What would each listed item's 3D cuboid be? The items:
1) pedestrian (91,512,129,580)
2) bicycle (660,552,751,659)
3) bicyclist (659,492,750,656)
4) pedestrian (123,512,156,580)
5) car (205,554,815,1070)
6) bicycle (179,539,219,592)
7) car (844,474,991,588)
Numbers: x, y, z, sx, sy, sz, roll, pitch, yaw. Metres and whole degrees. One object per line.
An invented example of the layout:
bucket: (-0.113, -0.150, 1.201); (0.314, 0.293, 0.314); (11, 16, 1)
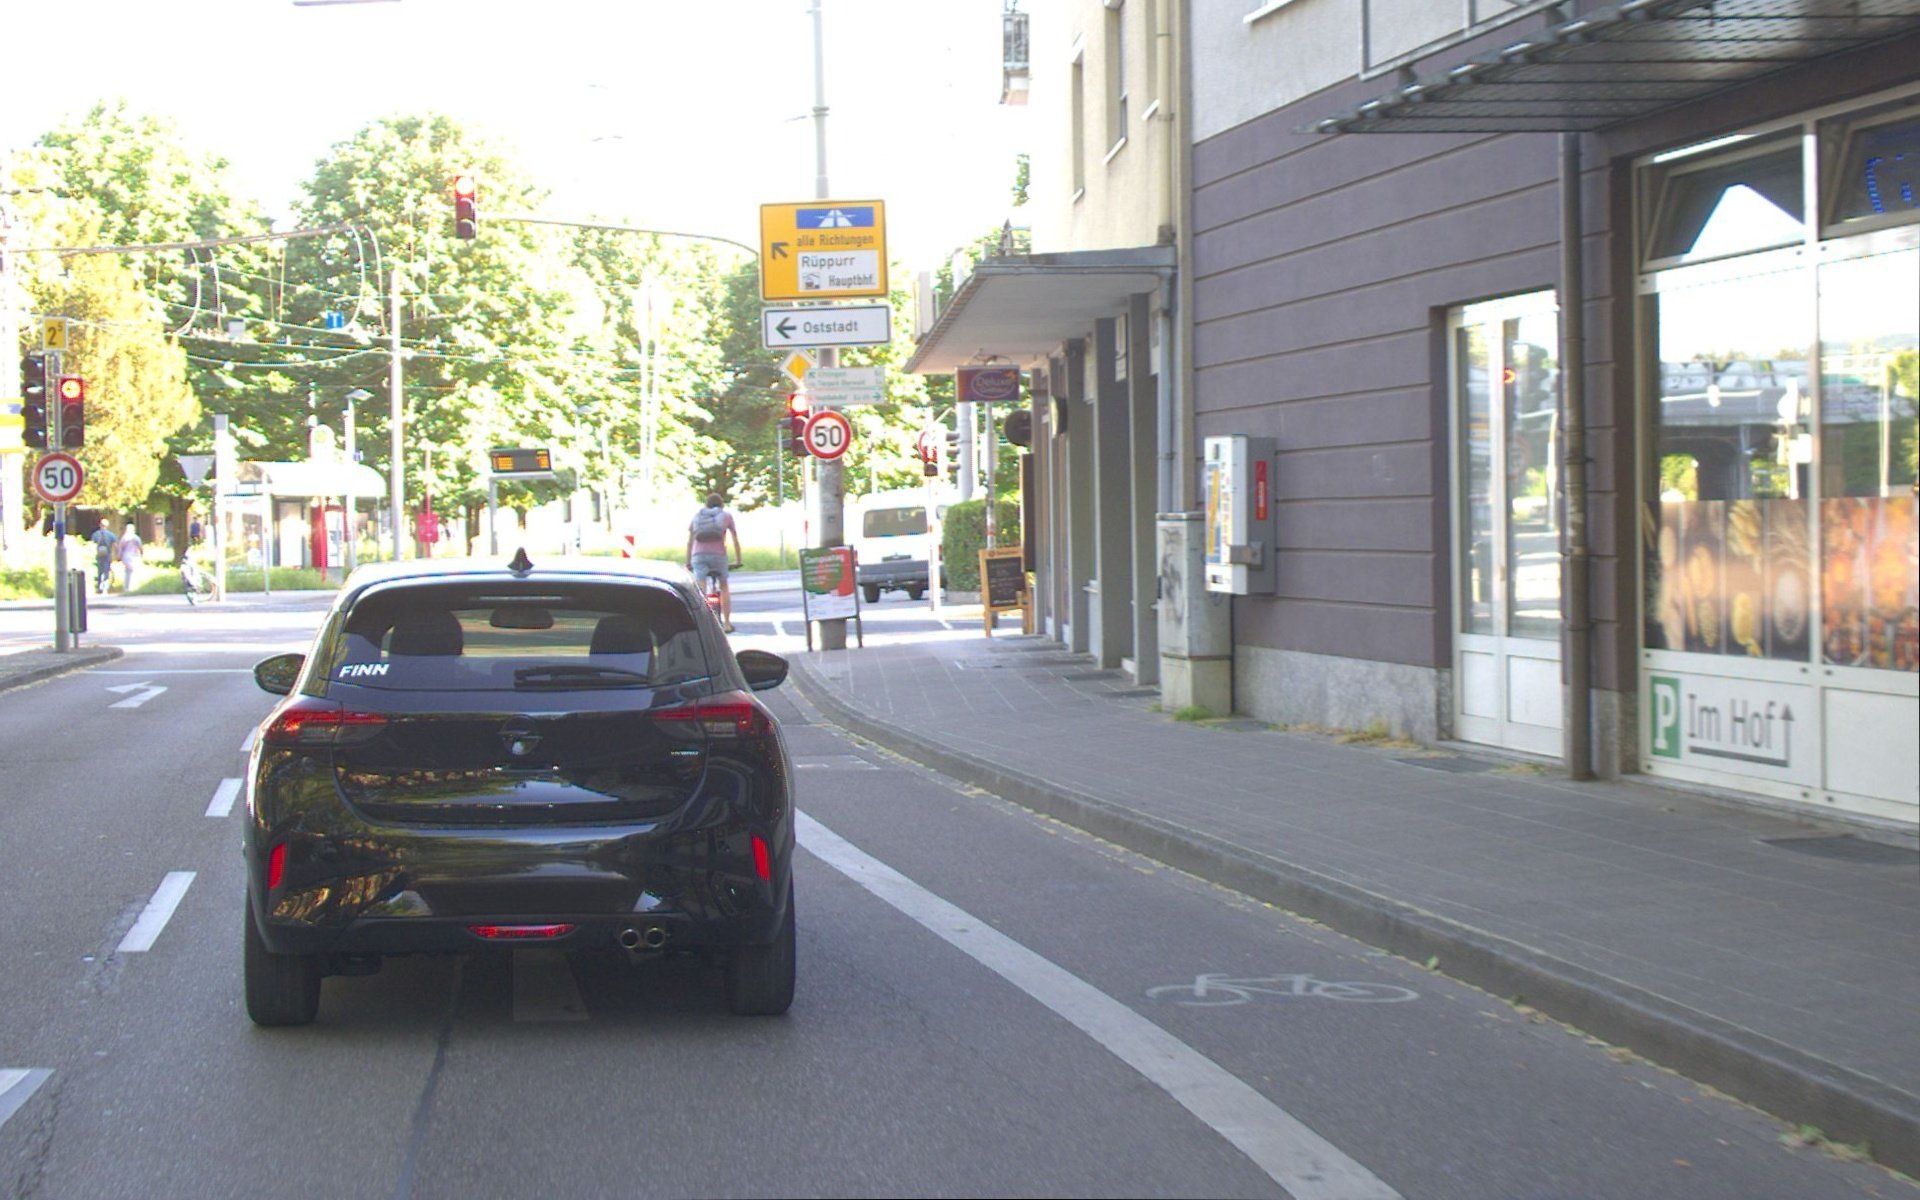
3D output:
pedestrian: (-20.363, -1.295, 82.355); (0.750, 1.624, 0.597); (1, 0, -1)
bicycle: (-2.933, 0.050, 39.461); (0.860, 1.149, 2.172); (-2, 2, -8)
bicyclist: (-2.938, -0.308, 39.534); (0.941, 1.844, 0.864); (-2, 1, -8)
pedestrian: (-19.656, -1.285, 82.356); (0.636, 1.624, 0.572); (1, 0, -1)
car: (-1.557, 0.573, 11.933); (1.726, 1.424, 4.188); (0, 1, -8)
bicycle: (-15.221, -0.696, 68.806); (0.605, 1.027, 1.983); (-1, 2, -8)
car: (-0.819, -1.443, 70.617); (2.064, 2.241, 4.885); (-1, 2, 11)
